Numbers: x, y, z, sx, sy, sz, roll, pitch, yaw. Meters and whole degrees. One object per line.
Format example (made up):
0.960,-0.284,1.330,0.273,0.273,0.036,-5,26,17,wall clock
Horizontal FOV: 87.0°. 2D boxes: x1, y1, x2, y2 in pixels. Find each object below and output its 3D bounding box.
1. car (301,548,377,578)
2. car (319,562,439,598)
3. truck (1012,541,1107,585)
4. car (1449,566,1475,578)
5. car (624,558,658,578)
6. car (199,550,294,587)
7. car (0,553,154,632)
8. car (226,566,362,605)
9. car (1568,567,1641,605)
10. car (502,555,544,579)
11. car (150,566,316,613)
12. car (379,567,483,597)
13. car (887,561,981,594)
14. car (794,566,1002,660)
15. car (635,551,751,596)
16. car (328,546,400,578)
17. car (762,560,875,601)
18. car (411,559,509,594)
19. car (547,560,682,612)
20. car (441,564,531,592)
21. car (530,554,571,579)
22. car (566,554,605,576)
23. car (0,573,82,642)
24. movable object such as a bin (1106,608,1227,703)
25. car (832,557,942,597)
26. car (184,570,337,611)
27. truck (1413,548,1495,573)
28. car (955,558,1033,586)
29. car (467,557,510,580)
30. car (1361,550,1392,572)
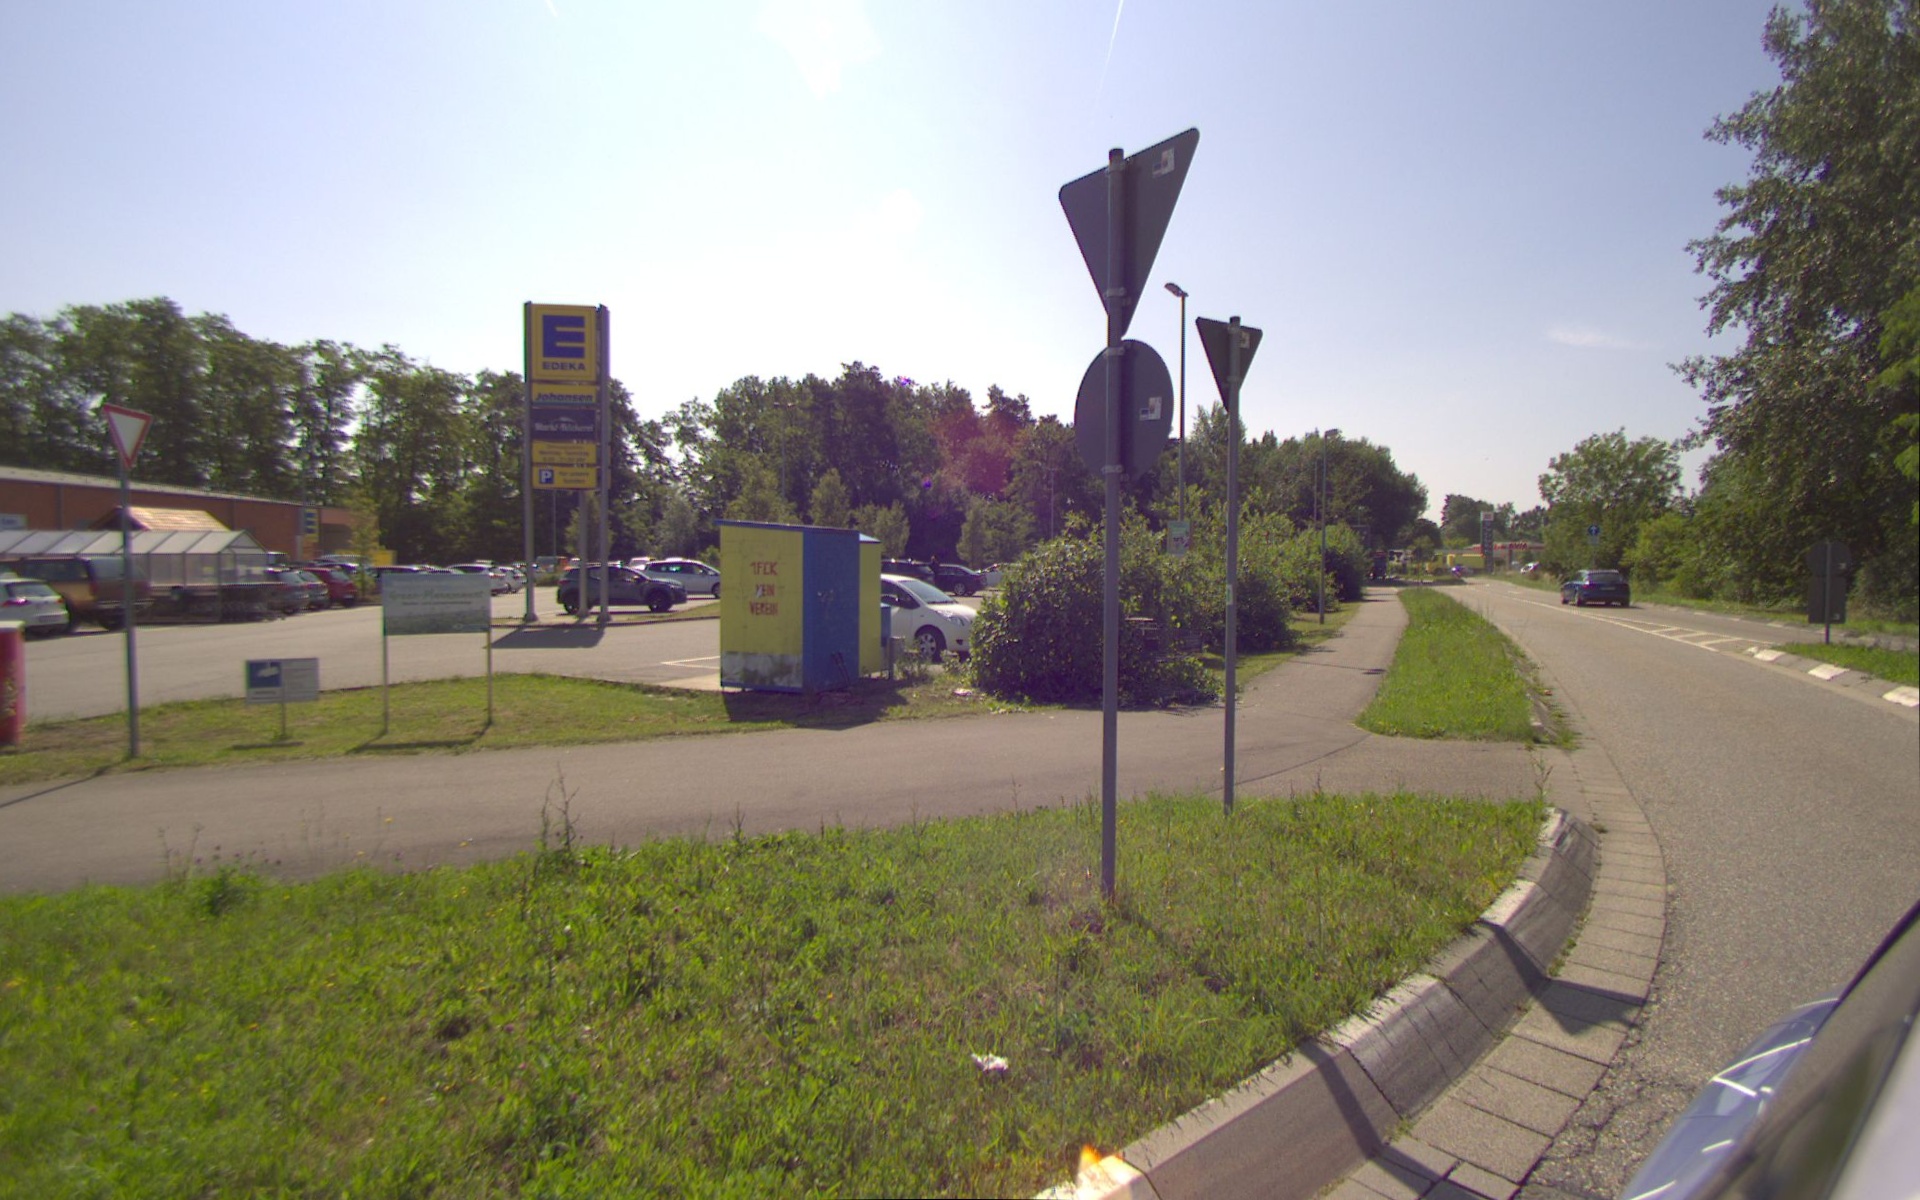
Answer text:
-42.035,-2.504,68.554,3.924,2.038,2.000,0,1,1,car
-24.347,-0.848,42.521,3.920,1.504,1.971,0,1,-4,car
6.304,-2.370,64.138,5.554,2.637,2.187,2,2,23,truck
62.760,-3.526,126.542,1.675,1.406,4.285,0,2,8,car
-26.323,-2.649,83.651,1.760,1.615,4.266,0,2,-4,car
-40.347,-1.774,57.310,3.922,2.038,2.002,0,2,-2,car
-22.991,-0.210,25.846,3.430,1.953,1.877,0,1,4,car
-24.831,-0.576,37.817,3.921,1.415,1.717,0,2,-3,car
25.360,-0.585,39.966,1.819,1.404,4.387,2,2,25,car
-36.328,-2.762,84.182,1.905,1.888,4.004,1,2,-3,car
-23.529,-0.360,32.874,3.921,1.437,1.984,0,1,-3,car
-25.069,-0.883,48.049,3.926,1.371,1.999,0,2,3,car
-1.189,-1.053,46.034,3.945,1.445,1.740,1,2,17,car
-1.188,0.180,19.427,3.571,1.581,1.797,2,2,27,car
-11.398,-1.155,43.441,4.471,1.723,2.002,-2,2,-3,car
-42.681,-2.719,72.533,3.948,2.274,2.000,0,1,1,car
-5.297,-0.758,37.849,3.954,1.460,1.639,1,2,23,car
-24.887,-1.179,50.489,3.927,1.682,1.999,0,1,3,car
-11.036,-0.470,32.532,3.917,1.608,1.665,0,2,-11,car
-25.351,-1.194,54.193,3.926,1.415,1.891,0,2,2,car
-34.028,-2.823,84.217,1.905,1.998,4.004,1,2,-3,car
-31.195,-2.923,84.404,1.905,1.732,4.004,1,2,-3,car
-22.657,0.141,23.337,3.430,1.516,1.715,0,1,4,car
2.742,0.698,13.407,1.429,1.134,0.870,-1,2,-39,movable object such as a bin
-3.028,-0.963,42.049,4.116,1.593,1.986,1,2,22,car
-24.390,-0.357,35.420,3.920,1.393,2.002,0,2,-5,car
71.504,-5.756,146.749,10.218,3.435,3.858,2,2,22,truck
1.846,-1.511,54.494,3.916,1.471,1.897,1,2,14,car
-39.202,-2.669,84.204,1.905,1.822,4.004,1,2,-3,car
54.954,-5.120,133.633,2.634,2.846,5.138,0,2,10,car
